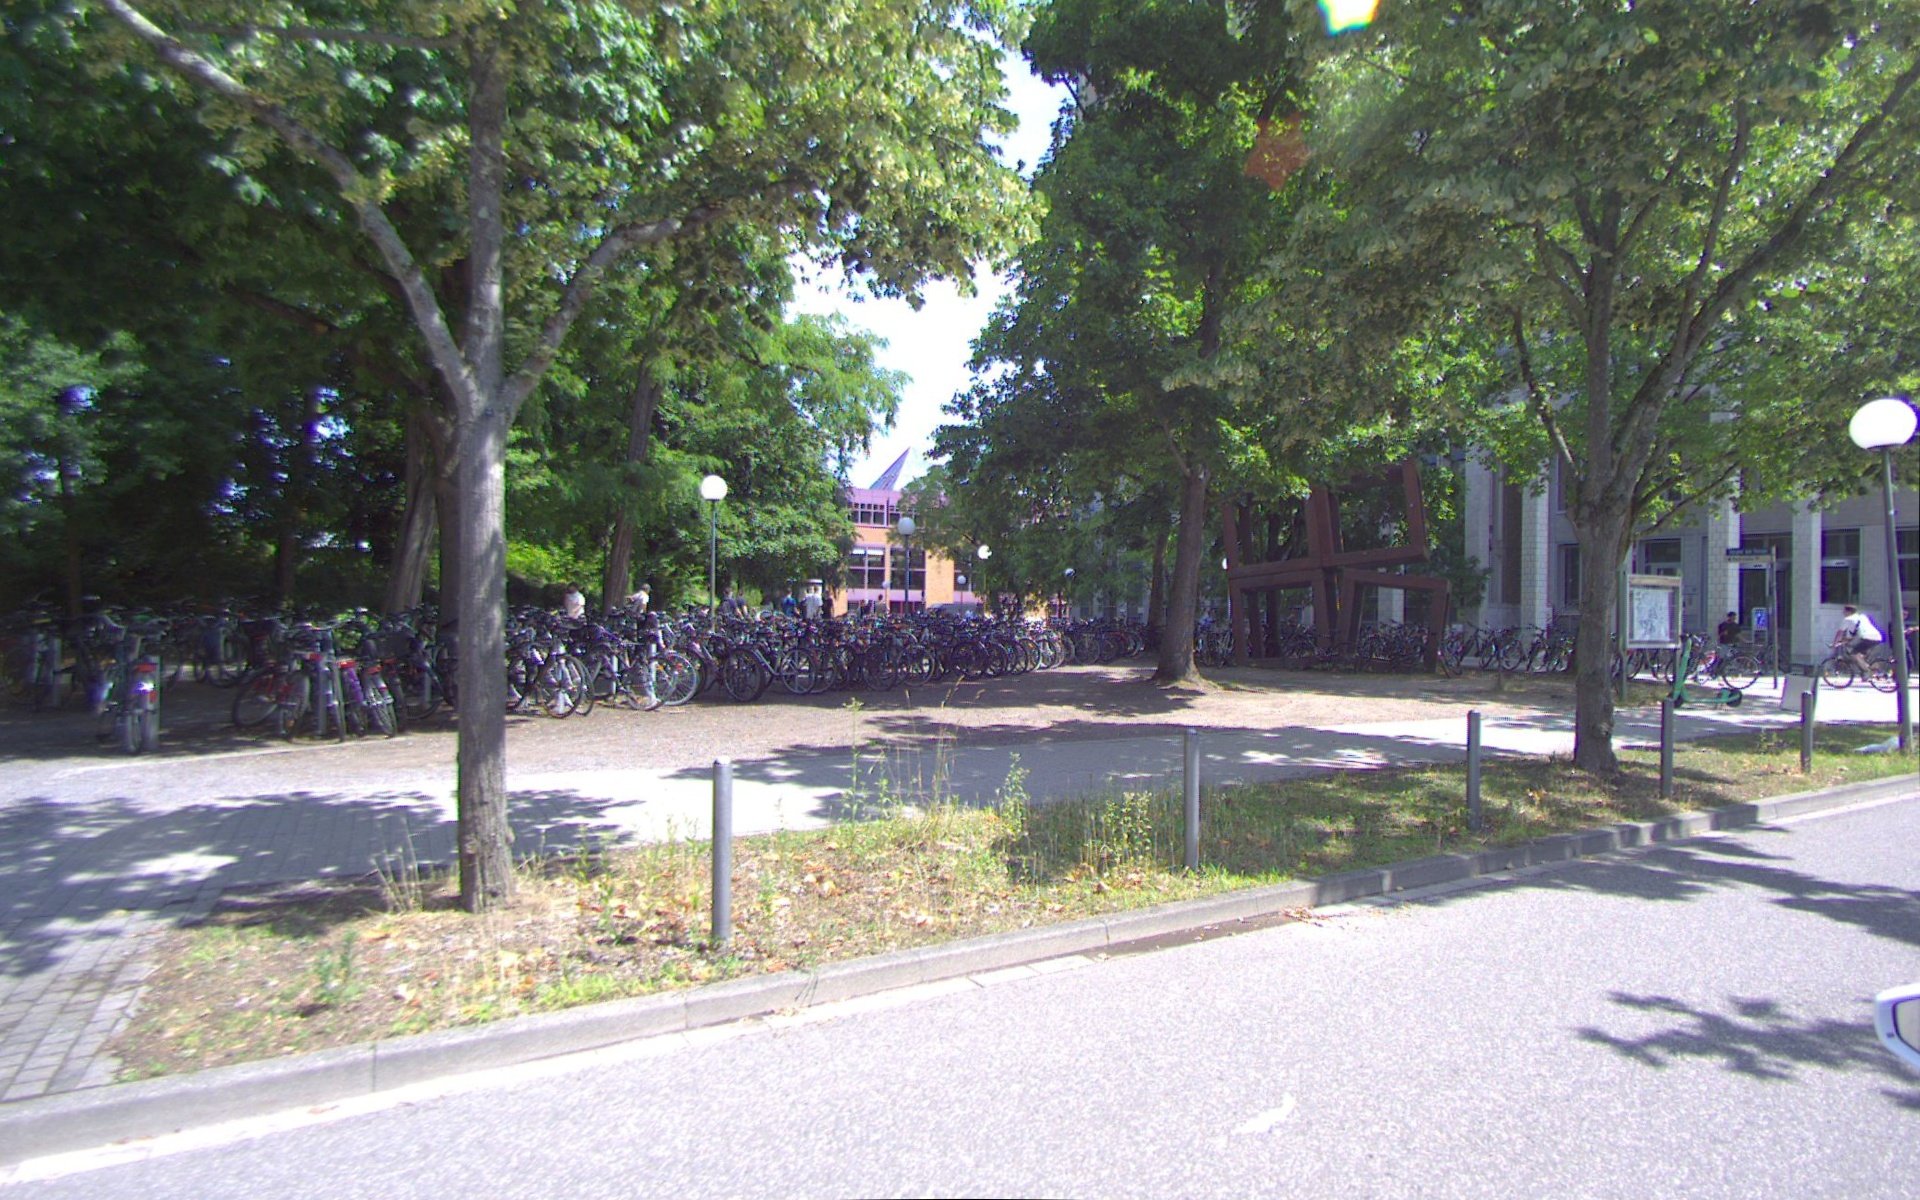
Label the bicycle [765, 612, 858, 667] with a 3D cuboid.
[{"bbox_3d":[-3.313,0.853,22.348,2.022,1.147,0.639,1,1,26],"label":"bicycle"}]

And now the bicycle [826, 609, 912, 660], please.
[{"bbox_3d":[-2.192,0.824,24.238,2.022,1.147,0.639,1,1,26],"label":"bicycle"}]

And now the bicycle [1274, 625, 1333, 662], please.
[{"bbox_3d":[10.636,1.346,31.067,1.950,1.101,0.549,1,1,-30],"label":"bicycle"}]

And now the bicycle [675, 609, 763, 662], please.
[{"bbox_3d":[-5.627,0.803,23.424,2.022,1.147,0.639,1,1,26],"label":"bicycle"}]

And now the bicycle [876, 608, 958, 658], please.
[{"bbox_3d":[-1.133,0.852,26.331,2.022,1.147,0.639,4,2,26],"label":"bicycle"}]

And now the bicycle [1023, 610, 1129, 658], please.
[{"bbox_3d":[3.178,0.923,27.494,2.781,1.249,0.743,1,0,18],"label":"bicycle"}]

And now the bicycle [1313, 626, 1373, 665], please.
[{"bbox_3d":[11.430,1.340,29.964,1.950,1.101,0.549,1,1,-30],"label":"bicycle"}]

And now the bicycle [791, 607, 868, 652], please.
[{"bbox_3d":[-3.542,0.787,27.232,2.022,1.147,0.639,1,1,26],"label":"bicycle"}]

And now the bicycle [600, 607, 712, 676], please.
[{"bbox_3d":[-5.469,0.718,18.025,2.022,1.147,0.639,1,1,26],"label":"bicycle"}]

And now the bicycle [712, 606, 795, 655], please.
[{"bbox_3d":[-5.078,0.730,24.627,2.022,1.147,0.639,1,1,26],"label":"bicycle"}]

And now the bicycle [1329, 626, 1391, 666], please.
[{"bbox_3d":[11.622,1.320,29.171,1.950,1.101,0.549,1,1,-30],"label":"bicycle"}]

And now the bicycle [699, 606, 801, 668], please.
[{"bbox_3d":[-4.227,0.726,20.145,2.022,1.147,0.639,1,1,26],"label":"bicycle"}]

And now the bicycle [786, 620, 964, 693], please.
[{"bbox_3d":[-1.402,0.902,16.511,2.777,1.064,0.883,1,0,18],"label":"bicycle"}]

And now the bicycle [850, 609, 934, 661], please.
[{"bbox_3d":[-1.711,0.864,25.262,2.022,1.148,0.639,3,2,26],"label":"bicycle"}]

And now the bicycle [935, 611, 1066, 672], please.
[{"bbox_3d":[0.860,0.861,21.535,2.655,1.195,0.883,1,0,18],"label":"bicycle"}]

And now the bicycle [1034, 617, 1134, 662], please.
[{"bbox_3d":[3.546,1.122,28.703,2.708,1.083,0.743,3,1,18],"label":"bicycle"}]

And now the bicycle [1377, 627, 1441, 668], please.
[{"bbox_3d":[12.472,1.310,27.885,1.950,1.101,0.549,1,1,-30],"label":"bicycle"}]

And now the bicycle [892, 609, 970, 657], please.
[{"bbox_3d":[-0.802,0.877,27.476,2.022,1.147,0.674,4,2,25],"label":"bicycle"}]

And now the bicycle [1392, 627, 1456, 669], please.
[{"bbox_3d":[12.618,1.296,27.303,1.950,1.101,0.549,1,1,-30],"label":"bicycle"}]

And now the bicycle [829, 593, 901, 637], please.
[{"bbox_3d":[-2.780,0.426,29.478,2.022,1.147,0.639,4,2,25],"label":"bicycle"}]

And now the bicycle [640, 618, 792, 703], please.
[{"bbox_3d":[-3.327,0.781,13.613,2.115,1.022,0.676,1,0,30],"label":"bicycle"}]

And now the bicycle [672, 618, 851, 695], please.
[{"bbox_3d":[-2.952,0.812,14.930,2.598,1.022,0.678,1,0,18],"label":"bicycle"}]

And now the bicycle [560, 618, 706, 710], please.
[{"bbox_3d":[-4.098,0.765,12.546,1.858,1.022,0.676,1,0,31],"label":"bicycle"}]

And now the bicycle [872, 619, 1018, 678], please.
[{"bbox_3d":[-0.292,0.921,19.458,2.679,1.016,0.883,1,0,18],"label":"bicycle"}]

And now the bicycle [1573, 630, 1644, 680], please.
[{"bbox_3d":[15.263,1.275,23.638,1.950,1.101,0.549,1,1,-30],"label":"bicycle"}]

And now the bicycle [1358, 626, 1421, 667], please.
[{"bbox_3d":[12.154,1.315,28.404,1.950,1.101,0.549,1,1,-30],"label":"bicycle"}]

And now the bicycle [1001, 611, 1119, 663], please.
[{"bbox_3d":[2.576,0.936,26.040,2.902,1.141,0.743,3,1,18],"label":"bicycle"}]

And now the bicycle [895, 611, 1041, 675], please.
[{"bbox_3d":[0.164,0.854,20.463,2.826,1.193,0.883,1,0,18],"label":"bicycle"}]

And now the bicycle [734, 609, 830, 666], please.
[{"bbox_3d":[-3.792,0.775,21.327,2.022,1.147,0.639,1,1,26],"label":"bicycle"}]

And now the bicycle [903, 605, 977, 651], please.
[{"bbox_3d":[-0.579,0.789,28.757,2.022,1.147,0.639,4,2,25],"label":"bicycle"}]

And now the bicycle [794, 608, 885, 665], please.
[{"bbox_3d":[-2.802,0.820,23.278,2.022,1.147,0.639,4,2,25],"label":"bicycle"}]

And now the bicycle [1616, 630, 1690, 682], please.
[{"bbox_3d":[15.548,1.249,22.520,1.950,1.101,0.549,1,1,-30],"label":"bicycle"}]

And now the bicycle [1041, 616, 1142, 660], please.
[{"bbox_3d":[3.899,1.104,29.816,2.853,1.171,0.743,1,0,18],"label":"bicycle"}]

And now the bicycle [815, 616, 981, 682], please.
[{"bbox_3d":[-1.078,0.823,17.482,2.728,1.028,0.883,1,0,18],"label":"bicycle"}]

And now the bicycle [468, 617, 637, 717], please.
[{"bbox_3d":[-4.745,0.733,11.637,2.116,1.022,0.676,1,0,31],"label":"bicycle"}]

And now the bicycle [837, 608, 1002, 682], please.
[{"bbox_3d":[-0.740,0.789,18.334,2.850,1.237,0.883,1,0,18],"label":"bicycle"}]

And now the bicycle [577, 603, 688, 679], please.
[{"bbox_3d":[-5.691,0.693,17.427,2.022,1.147,0.478,4,2,26],"label":"bicycle"}]

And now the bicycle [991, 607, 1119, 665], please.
[{"bbox_3d":[2.356,0.869,24.881,3.022,1.314,0.883,1,0,18],"label":"bicycle"}]

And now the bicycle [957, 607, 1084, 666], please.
[{"bbox_3d":[1.439,0.841,24.006,2.875,1.304,0.883,1,0,18],"label":"bicycle"}]

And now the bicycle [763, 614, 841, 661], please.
[{"bbox_3d":[-4.163,0.958,26.396,2.022,1.147,0.639,1,1,26],"label":"bicycle"}]

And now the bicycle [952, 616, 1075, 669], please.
[{"bbox_3d":[1.205,0.951,22.762,2.630,1.091,0.883,1,0,18],"label":"bicycle"}]

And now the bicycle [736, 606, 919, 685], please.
[{"bbox_3d":[-2.056,0.675,15.612,2.697,1.101,0.883,1,0,18],"label":"bicycle"}]

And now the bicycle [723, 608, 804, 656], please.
[{"bbox_3d":[-4.990,0.804,25.490,2.022,1.147,0.639,1,1,26],"label":"bicycle"}]

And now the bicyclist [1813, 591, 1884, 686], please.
[{"bbox_3d":[19.554,0.846,22.121,0.862,2.040,0.846,1,0,-19],"label":"bicyclist"}]

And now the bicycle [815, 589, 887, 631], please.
[{"bbox_3d":[-3.127,0.284,28.819,2.022,1.147,0.639,1,0,26],"label":"bicycle"}]
